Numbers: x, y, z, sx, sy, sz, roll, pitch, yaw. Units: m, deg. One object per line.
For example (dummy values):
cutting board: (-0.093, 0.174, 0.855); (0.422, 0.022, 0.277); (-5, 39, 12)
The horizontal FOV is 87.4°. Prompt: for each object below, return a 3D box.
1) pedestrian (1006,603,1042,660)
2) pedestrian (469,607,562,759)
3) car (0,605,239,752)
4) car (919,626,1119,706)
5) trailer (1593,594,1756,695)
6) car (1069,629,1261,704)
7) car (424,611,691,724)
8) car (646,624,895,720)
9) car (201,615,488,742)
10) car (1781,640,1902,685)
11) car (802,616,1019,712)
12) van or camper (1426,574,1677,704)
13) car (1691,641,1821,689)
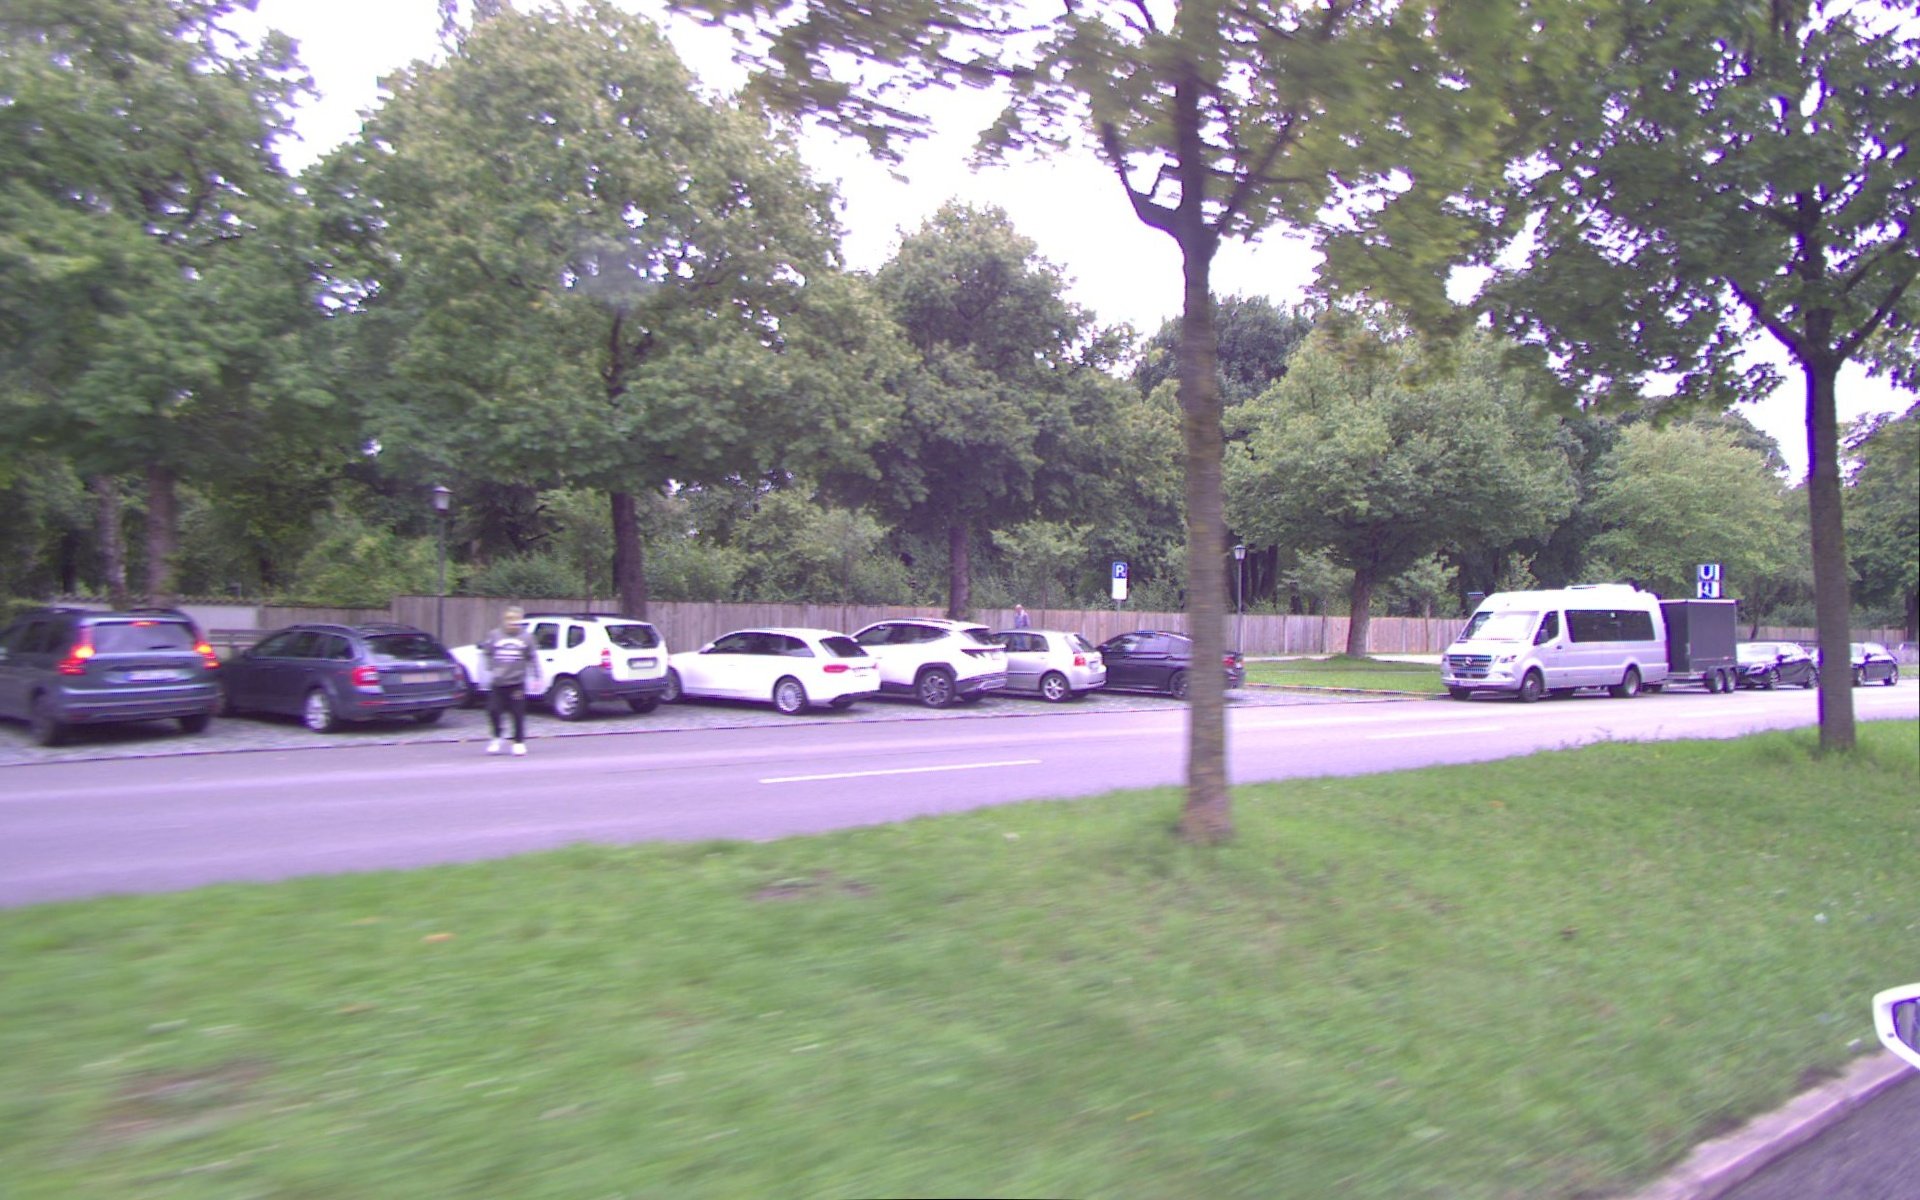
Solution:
pedestrian: (2.041, 1.013, 31.956); (0.865, 1.790, 0.763); (2, -2, -34)
pedestrian: (-5.230, 0.968, 11.876); (0.757, 1.720, 0.872); (2, -2, -10)
car: (-11.820, 0.944, 13.735); (3.930, 1.608, 1.797); (2, 1, 31)
car: (1.285, 1.366, 21.794); (3.923, 1.485, 1.801); (1, 0, 24)
trailer: (20.059, 1.237, 28.163); (4.604, 2.624, 2.007); (1, -3, -31)
car: (4.693, 1.461, 23.092); (3.929, 1.453, 1.798); (1, 0, 30)
car: (-6.828, 1.060, 17.001); (4.243, 1.594, 1.800); (1, 0, 26)
car: (-3.490, 1.241, 18.442); (4.243, 1.457, 1.800); (1, 0, 26)
car: (-9.150, 1.062, 14.928); (3.925, 1.506, 1.800); (2, 1, 26)
car: (29.941, 2.077, 34.100); (4.379, 1.444, 1.792); (1, -3, -31)
car: (-0.984, 1.206, 20.068); (3.924, 1.644, 1.800); (1, 0, 24)
van or camper: (14.914, 0.982, 25.112); (7.458, 2.875, 2.026); (1, -3, -31)
car: (24.732, 1.964, 31.187); (4.188, 1.402, 1.792); (1, -3, -31)
